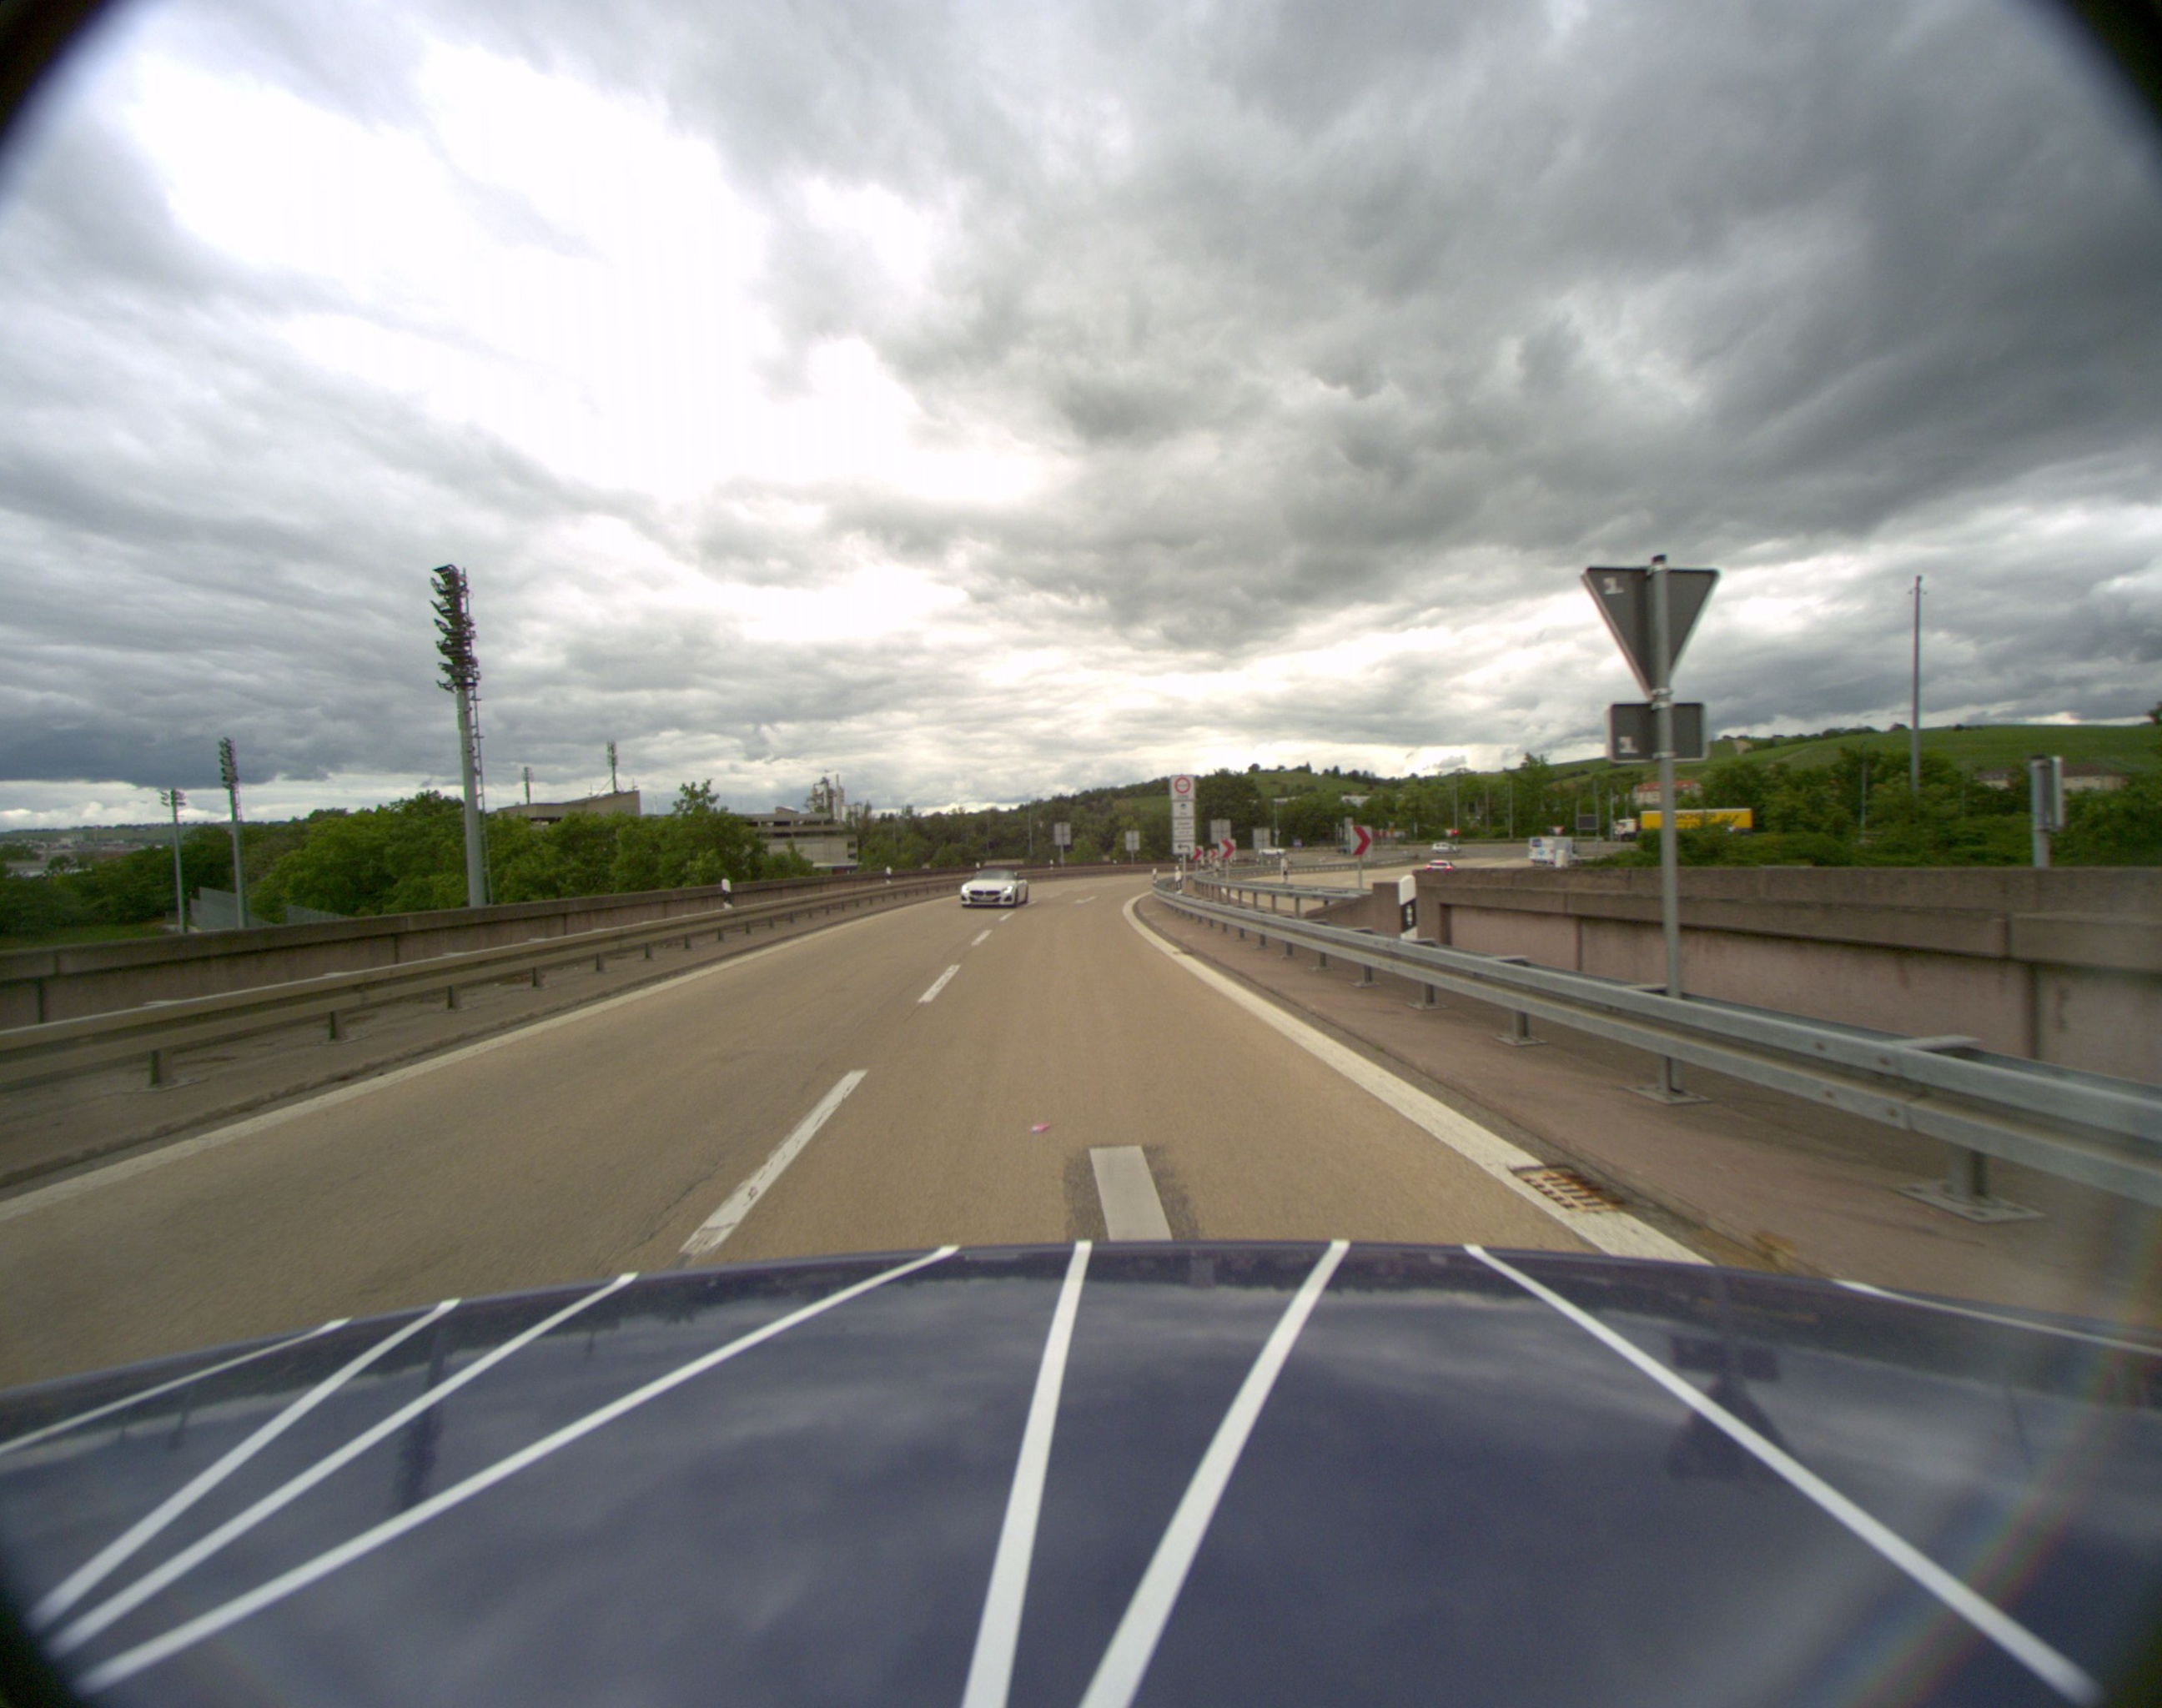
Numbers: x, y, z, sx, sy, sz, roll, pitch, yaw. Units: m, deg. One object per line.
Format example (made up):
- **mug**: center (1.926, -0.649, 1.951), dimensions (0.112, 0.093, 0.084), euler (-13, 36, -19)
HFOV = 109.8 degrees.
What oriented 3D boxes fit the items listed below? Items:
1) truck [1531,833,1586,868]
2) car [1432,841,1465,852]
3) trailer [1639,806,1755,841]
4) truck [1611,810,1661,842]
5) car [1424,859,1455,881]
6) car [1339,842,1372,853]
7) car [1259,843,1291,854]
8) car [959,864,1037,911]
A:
- **truck**: center (46.931, -0.408, 74.618), dimensions (7.008, 3.246, 2.345), euler (-2, 3, -39)
- **car**: center (51.204, -1.024, 105.831), dimensions (1.631, 1.366, 3.739), euler (-6, 3, -44)
- **trailer**: center (81.140, -3.927, 100.386), dimensions (2.640, 4.181, 11.623), euler (-5, 3, -44)
- **truck**: center (76.664, -3.914, 105.003), dimensions (2.640, 4.181, 5.087), euler (-5, 4, -44)
- **car**: center (26.459, 1.145, 56.168), dimensions (1.912, 1.406, 4.372), euler (2, 1, 23)
- **car**: center (41.807, -0.973, 115.688), dimensions (4.283, 1.548, 1.951), euler (-2, 3, 44)
- **car**: center (32.245, -0.935, 126.174), dimensions (4.702, 1.552, 1.881), euler (-2, 3, 45)
- **car**: center (-2.836, 1.110, 27.079), dimensions (1.862, 1.337, 4.826), euler (2, 1, 5)
